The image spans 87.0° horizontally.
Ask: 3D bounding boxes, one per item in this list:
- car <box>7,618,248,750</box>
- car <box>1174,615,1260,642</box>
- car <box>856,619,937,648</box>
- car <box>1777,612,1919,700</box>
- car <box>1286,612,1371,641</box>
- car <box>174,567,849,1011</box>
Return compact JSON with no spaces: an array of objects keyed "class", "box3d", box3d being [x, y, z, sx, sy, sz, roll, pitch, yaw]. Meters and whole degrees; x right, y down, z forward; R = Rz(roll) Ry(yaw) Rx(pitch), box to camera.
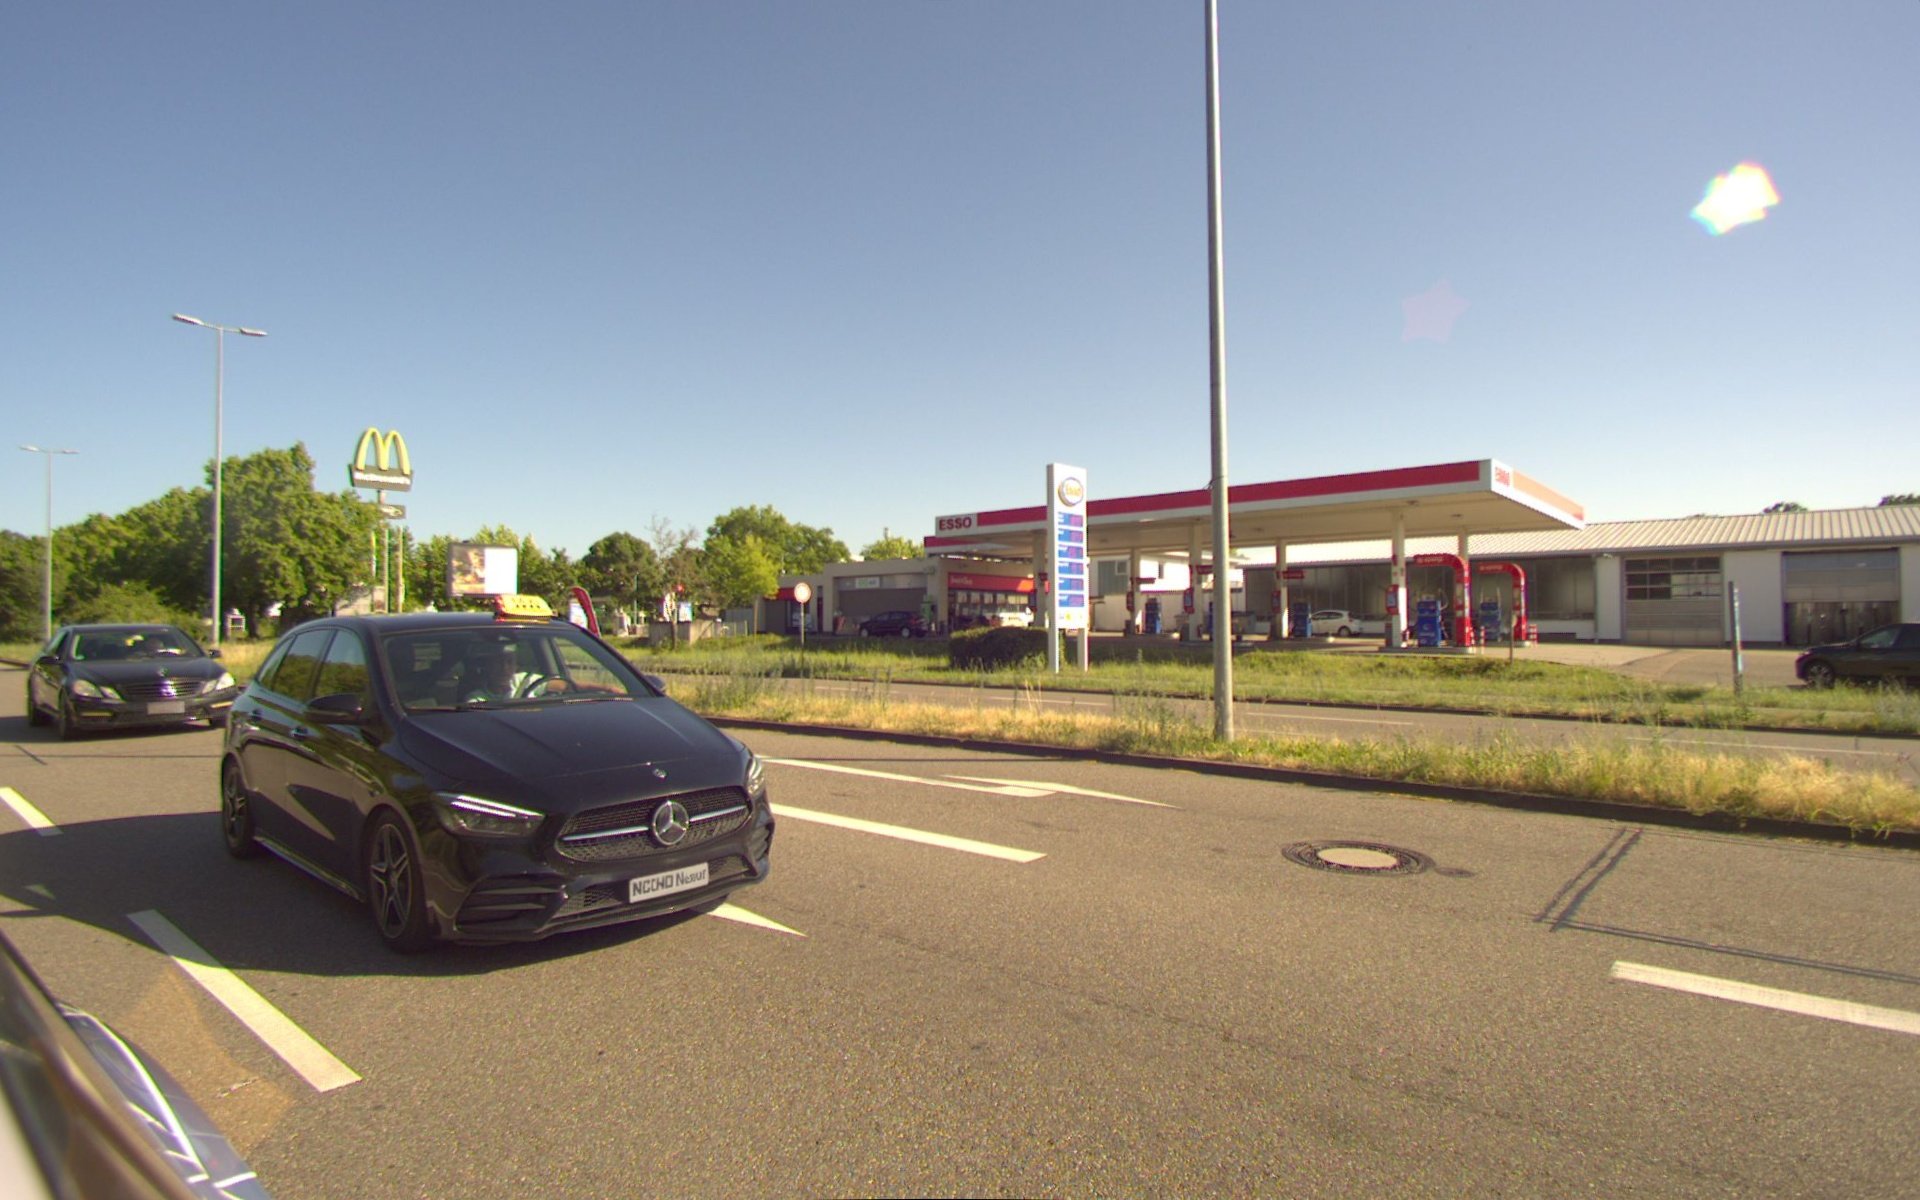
[{"class":"car","box3d":[-11.806,1.042,14.245,4.461,1.521,1.928,-1,0,41]},{"class":"car","box3d":[15.139,1.637,59.772,4.540,1.477,1.973,-1,0,41]},{"class":"car","box3d":[-3.301,1.712,52.413,3.998,1.416,1.973,-2,-2,41]},{"class":"car","box3d":[20.232,1.157,21.419,1.778,1.739,4.334,-1,0,-15]},{"class":"car","box3d":[19.980,1.410,54.920,3.855,1.500,1.973,-1,0,41]},{"class":"car","box3d":[-2.867,0.739,5.856,4.579,1.614,1.765,-2,-1,40]}]
